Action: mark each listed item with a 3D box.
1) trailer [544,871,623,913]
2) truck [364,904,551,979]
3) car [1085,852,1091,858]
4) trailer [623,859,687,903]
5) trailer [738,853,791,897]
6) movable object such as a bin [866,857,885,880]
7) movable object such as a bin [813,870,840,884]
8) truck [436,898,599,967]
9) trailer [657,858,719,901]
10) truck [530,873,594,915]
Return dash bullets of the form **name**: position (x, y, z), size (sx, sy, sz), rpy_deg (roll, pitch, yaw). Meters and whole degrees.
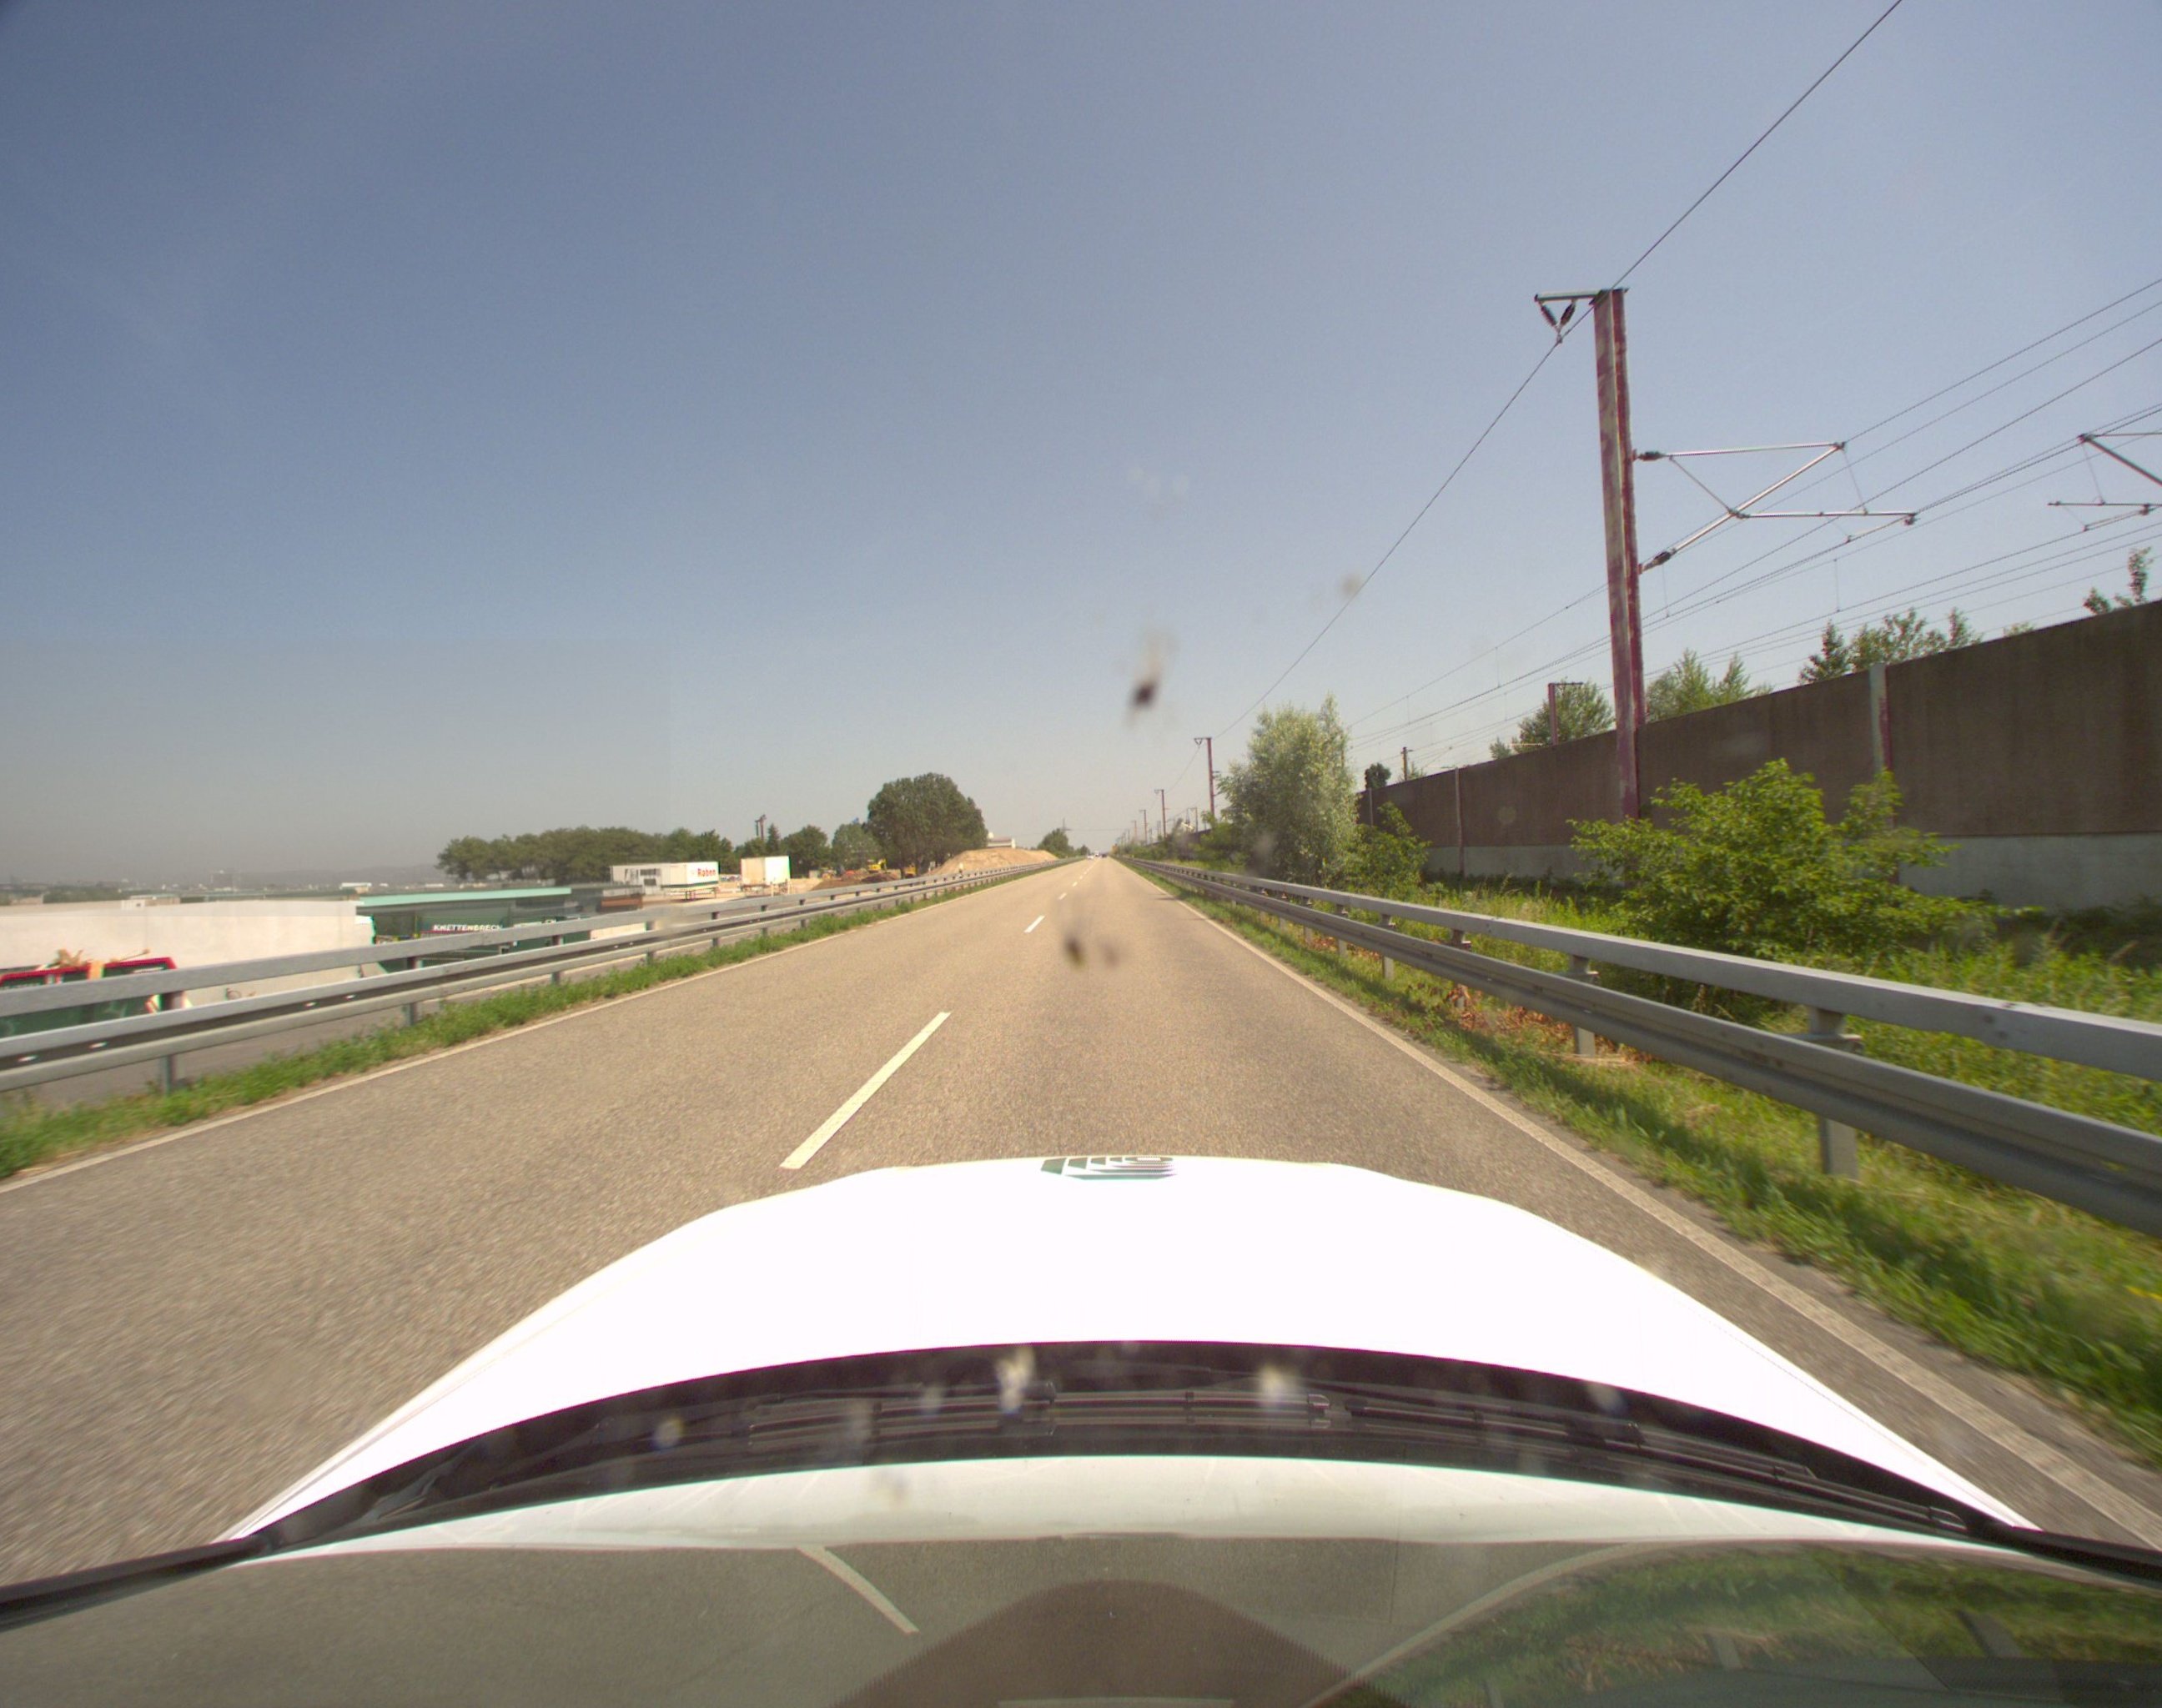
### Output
- **trailer**: position (-49.358, 3.662, 81.312), size (2.367, 3.509, 11.138), rpy_deg (-2, 1, -8)
- **truck**: position (-22.569, 3.142, 29.646), size (4.990, 2.333, 2.233), rpy_deg (-2, 0, 1)
- **car**: position (1.935, 0.188, 217.446), size (1.590, 1.576, 3.828), rpy_deg (-2, 0, 1)
- **trailer**: position (-44.909, 2.772, 86.155), size (2.846, 4.218, 7.535), rpy_deg (-2, 1, -1)
- **trailer**: position (-33.503, 2.152, 86.651), size (2.672, 4.332, 7.945), rpy_deg (-2, 1, -2)
- **movable object such as a bin**: position (-34.788, 2.434, 137.664), size (2.627, 3.652, 5.428), rpy_deg (-5, 0, -17)
- **movable object such as a bin**: position (-43.531, 3.879, 139.449), size (3.991, 2.013, 1.991), rpy_deg (-5, 0, -13)
- **truck**: position (-23.232, 3.199, 33.756), size (5.033, 2.537, 2.271), rpy_deg (-1, -1, -3)
- **trailer**: position (-41.685, 2.659, 86.701), size (2.736, 4.147, 7.894), rpy_deg (-2, 1, -1)
- **truck**: position (-48.698, 3.697, 76.658), size (2.367, 3.509, 6.835), rpy_deg (-2, 1, -8)
